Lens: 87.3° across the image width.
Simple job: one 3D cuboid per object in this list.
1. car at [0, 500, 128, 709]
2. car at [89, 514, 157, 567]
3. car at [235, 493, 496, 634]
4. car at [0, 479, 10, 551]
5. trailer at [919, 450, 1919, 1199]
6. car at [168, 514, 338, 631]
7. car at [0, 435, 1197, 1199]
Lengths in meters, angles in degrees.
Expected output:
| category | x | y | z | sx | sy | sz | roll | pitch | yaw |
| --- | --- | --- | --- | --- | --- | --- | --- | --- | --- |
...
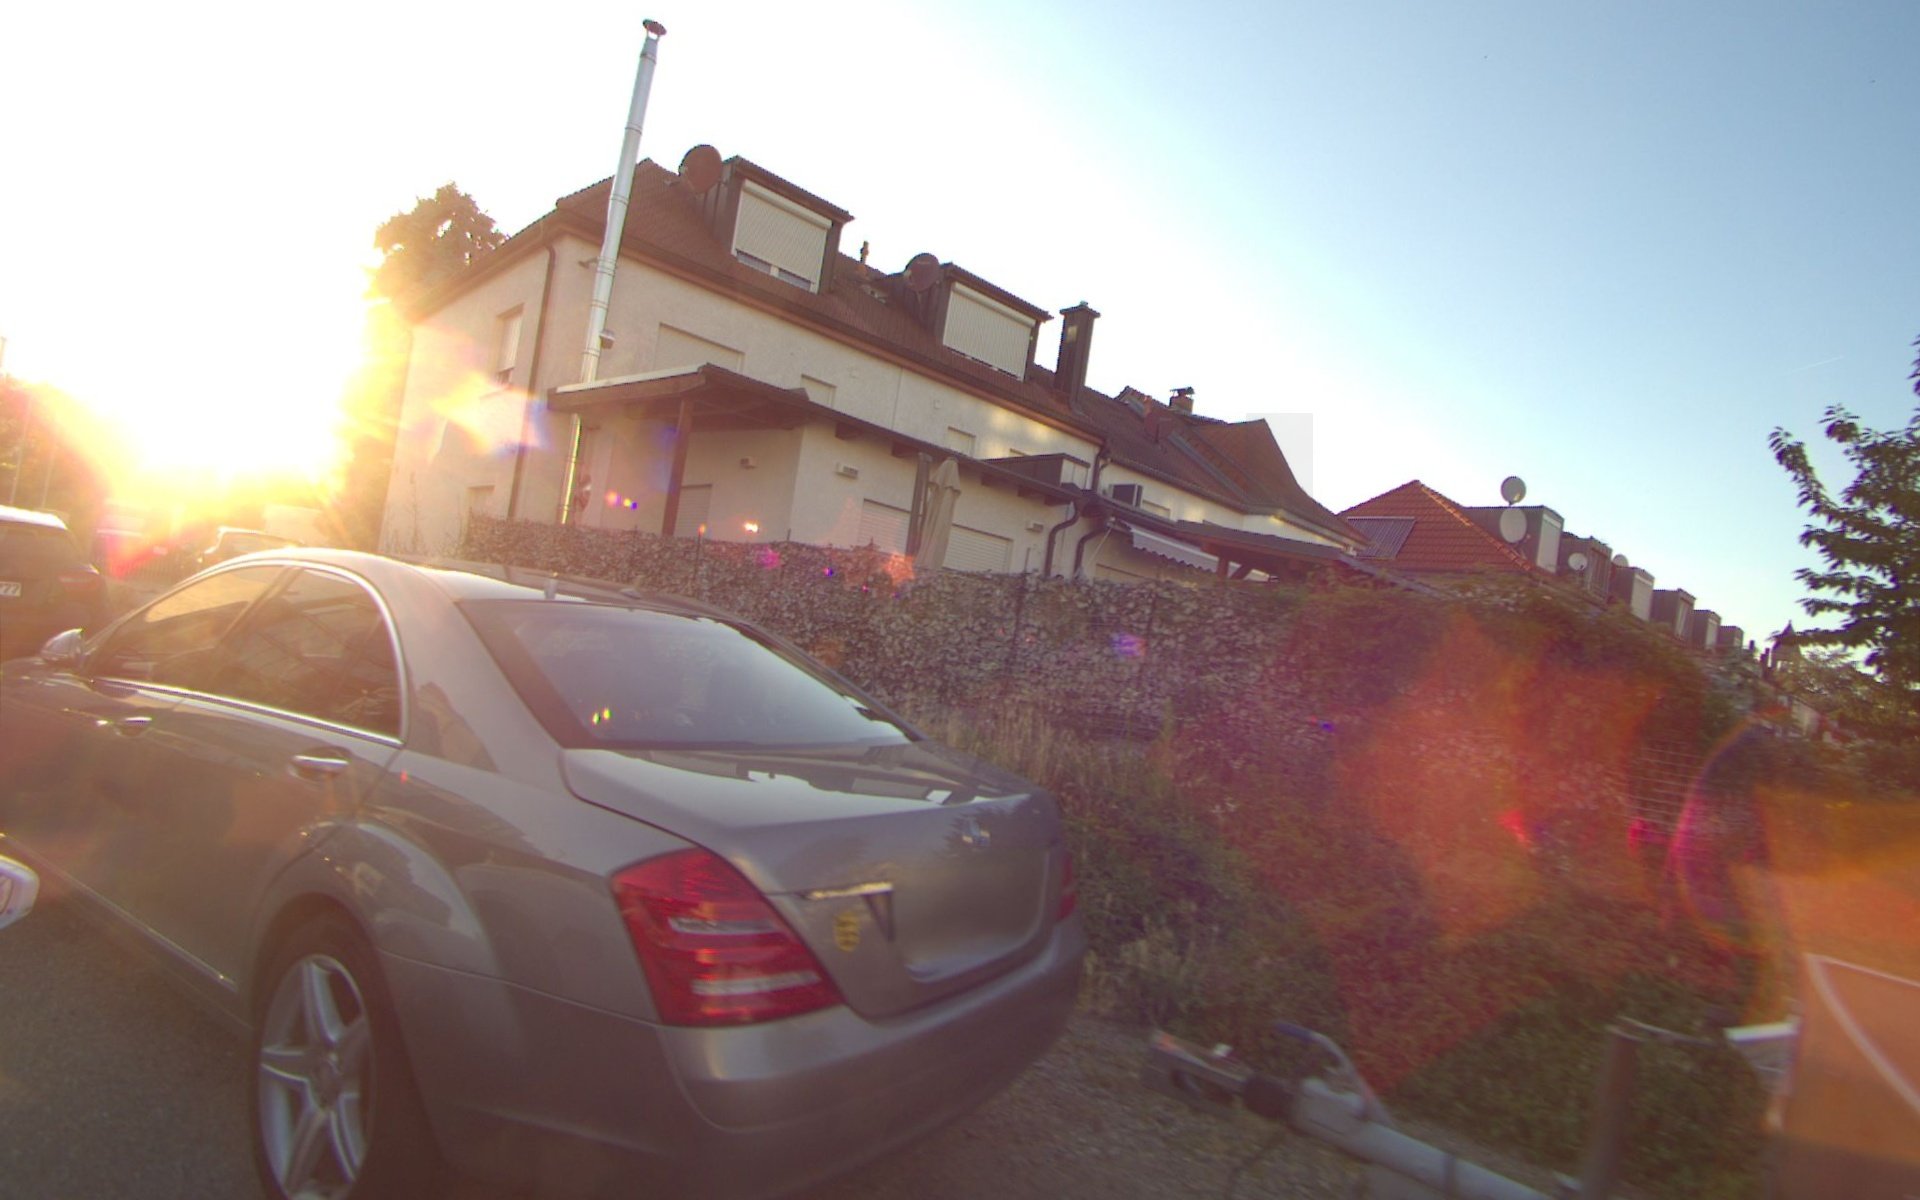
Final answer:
| category | x | y | z | sx | sy | sz | roll | pitch | yaw |
| --- | --- | --- | --- | --- | --- | --- | --- | --- | --- |
| car | -8.837 | -0.163 | 8.739 | 4.030 | 1.536 | 1.704 | 6 | -3 | 41 |
| car | -28.094 | -2.020 | 33.740 | 1.524 | 1.460 | 3.598 | 10 | -2 | -41 |
| car | -15.938 | -0.915 | 27.207 | 5.547 | 2.722 | 2.030 | 11 | -2 | -40 |
| car | -13.479 | -0.759 | 12.495 | 4.344 | 1.852 | 1.771 | 6 | -3 | 40 |
| trailer | 2.451 | 0.958 | 1.099 | 4.857 | 1.798 | 1.733 | 7 | -1 | 33 |
| car | -11.735 | -0.445 | 16.607 | 1.632 | 1.535 | 3.857 | 10 | -5 | -43 |
| car | -1.890 | 0.497 | 3.577 | 4.849 | 1.745 | 1.808 | 7 | -1 | 34 |
